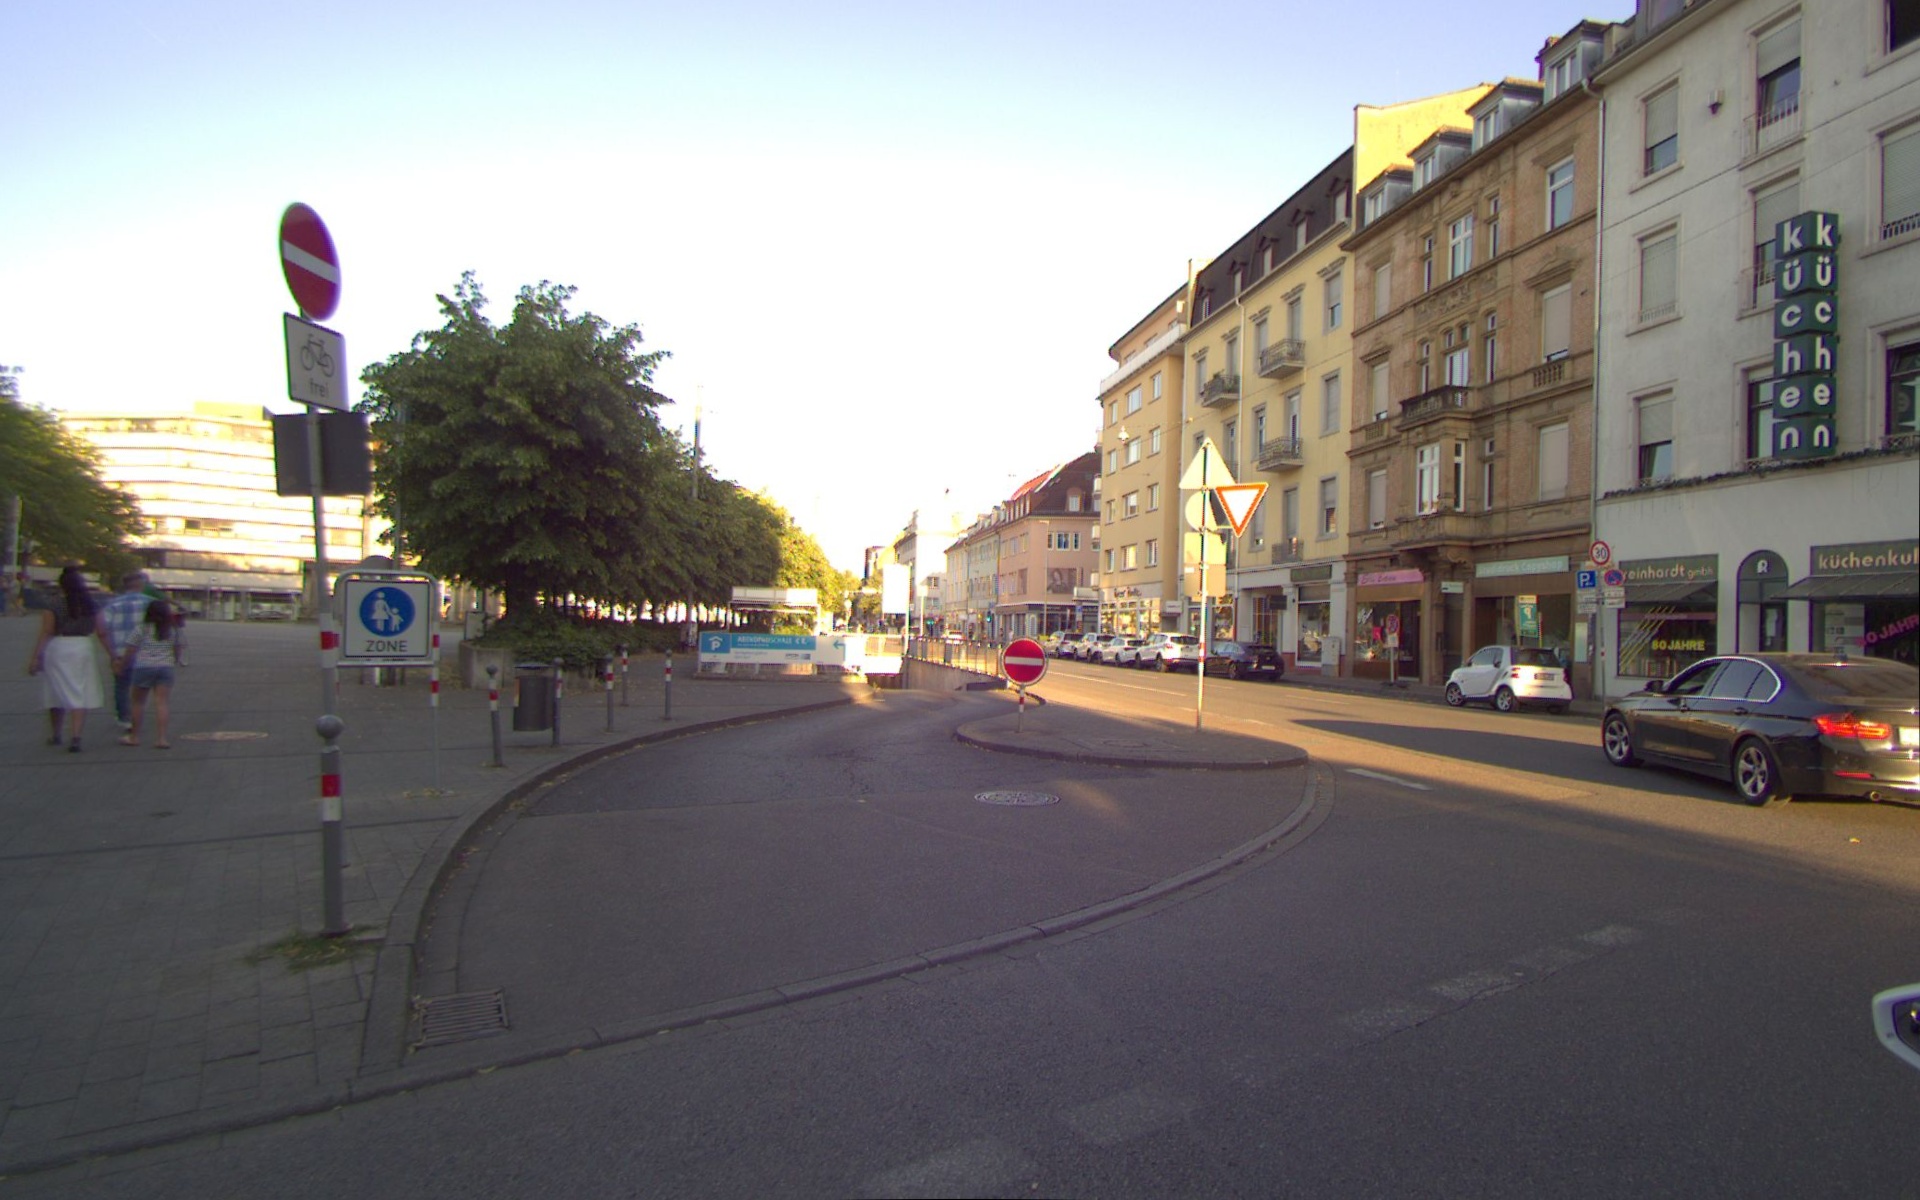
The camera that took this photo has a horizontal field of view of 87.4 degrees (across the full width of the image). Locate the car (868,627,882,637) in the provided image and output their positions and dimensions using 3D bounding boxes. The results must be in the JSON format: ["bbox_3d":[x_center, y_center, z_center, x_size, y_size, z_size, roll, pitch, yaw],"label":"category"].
[{"bbox_3d":[-14.894,5.536,175.969,1.964,1.638,3.993,3,-2,-10],"label":"car"}]

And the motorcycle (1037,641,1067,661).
[{"bbox_3d":[6.092,3.342,66.453,1.787,1.280,0.714,1,-1,-13],"label":"motorcycle"}]

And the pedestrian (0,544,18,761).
[{"bbox_3d":[-8.876,0.429,8.578,0.874,1.878,0.983,2,0,32],"label":"pedestrian"}]

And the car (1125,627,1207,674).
[{"bbox_3d":[8.938,2.168,43.946,1.855,1.768,4.650,2,0,-10],"label":"car"}]

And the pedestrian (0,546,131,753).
[{"bbox_3d":[-8.634,0.468,9.691,0.771,1.900,0.709,2,0,-27],"label":"pedestrian"}]

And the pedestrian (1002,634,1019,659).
[{"bbox_3d":[3.710,3.404,73.768,0.863,1.743,0.752,3,-2,-35],"label":"pedestrian"}]

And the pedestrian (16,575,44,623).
[{"bbox_3d":[-39.385,-0.045,42.539,0.724,1.973,0.795,3,-2,-40],"label":"pedestrian"}]

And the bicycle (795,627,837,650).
[{"bbox_3d":[-9.099,2.416,63.374,2.460,1.301,0.816,2,-2,10],"label":"bicycle"}]

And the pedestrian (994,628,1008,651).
[{"bbox_3d":[3.101,3.005,76.532,0.784,1.743,0.809,3,-2,-17],"label":"pedestrian"}]

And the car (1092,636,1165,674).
[{"bbox_3d":[8.225,2.672,49.474,1.986,1.563,4.860,2,0,-10],"label":"car"}]

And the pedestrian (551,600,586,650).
[{"bbox_3d":[-16.338,1.062,41.917,0.896,2.040,0.919,2,-2,12],"label":"pedestrian"}]

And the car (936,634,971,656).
[{"bbox_3d":[-0.589,3.758,84.041,2.300,1.625,3.887,3,-2,-10],"label":"car"}]

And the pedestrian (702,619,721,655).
[{"bbox_3d":[-13.624,2.022,55.085,0.789,1.973,0.731,2,-1,2],"label":"pedestrian"}]

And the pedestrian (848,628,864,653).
[{"bbox_3d":[-7.586,2.961,73.278,0.872,1.743,0.712,3,-2,-22],"label":"pedestrian"}]

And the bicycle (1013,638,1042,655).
[{"bbox_3d":[4.760,3.264,70.675,1.858,1.183,0.721,2,-1,-14],"label":"bicycle"}]

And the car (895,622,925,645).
[{"bbox_3d":[-4.262,2.824,85.302,1.964,1.773,3.993,3,-2,-10],"label":"car"}]

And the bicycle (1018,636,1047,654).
[{"bbox_3d":[5.036,3.129,69.762,1.858,1.127,0.600,3,-2,-13],"label":"bicycle"}]

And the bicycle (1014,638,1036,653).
[{"bbox_3d":[4.646,3.233,72.088,1.480,1.039,0.511,1,-1,-15],"label":"bicycle"}]

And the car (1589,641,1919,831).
[{"bbox_3d":[8.375,1.217,10.238,1.856,1.511,4.208,2,-2,10],"label":"car"}]

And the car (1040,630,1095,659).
[{"bbox_3d":[6.477,2.681,61.145,1.965,1.634,4.793,2,-2,-12],"label":"car"}]

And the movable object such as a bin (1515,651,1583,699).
[{"bbox_3d":[15.910,2.014,27.166,0.853,1.202,1.395,2,-2,-11],"label":"movable object such as a bin"}]

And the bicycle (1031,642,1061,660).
[{"bbox_3d":[5.765,3.400,67.353,1.858,1.127,0.592,2,-1,-14],"label":"bicycle"}]

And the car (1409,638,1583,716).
[{"bbox_3d":[13.120,1.830,24.876,1.675,1.606,3.992,2,0,-10],"label":"car"}]

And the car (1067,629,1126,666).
[{"bbox_3d":[7.403,2.570,54.981,1.841,1.785,4.399,2,0,-11],"label":"car"}]

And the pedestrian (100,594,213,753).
[{"bbox_3d":[-8.024,0.710,10.038,0.703,1.506,0.603,2,0,26],"label":"pedestrian"}]

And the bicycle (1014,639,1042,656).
[{"bbox_3d":[4.832,3.354,71.509,1.858,1.127,0.760,3,-2,-14],"label":"bicycle"}]

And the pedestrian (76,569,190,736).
[{"bbox_3d":[-9.163,0.563,11.145,0.675,1.769,0.715,2,0,26],"label":"pedestrian"}]

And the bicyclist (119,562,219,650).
[{"bbox_3d":[-14.519,0.128,18.486,1.369,1.529,0.745,3,-2,-38],"label":"bicyclist"}]

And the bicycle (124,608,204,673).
[{"bbox_3d":[-14.664,0.721,18.559,0.942,1.116,2.306,3,-2,-34],"label":"bicycle"}]

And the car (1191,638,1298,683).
[{"bbox_3d":[10.695,2.250,38.143,1.964,1.453,4.842,3,-2,-10],"label":"car"}]

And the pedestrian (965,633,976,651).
[{"bbox_3d":[1.085,4.383,104.203,0.747,1.800,1.045,3,-2,-15],"label":"pedestrian"}]
